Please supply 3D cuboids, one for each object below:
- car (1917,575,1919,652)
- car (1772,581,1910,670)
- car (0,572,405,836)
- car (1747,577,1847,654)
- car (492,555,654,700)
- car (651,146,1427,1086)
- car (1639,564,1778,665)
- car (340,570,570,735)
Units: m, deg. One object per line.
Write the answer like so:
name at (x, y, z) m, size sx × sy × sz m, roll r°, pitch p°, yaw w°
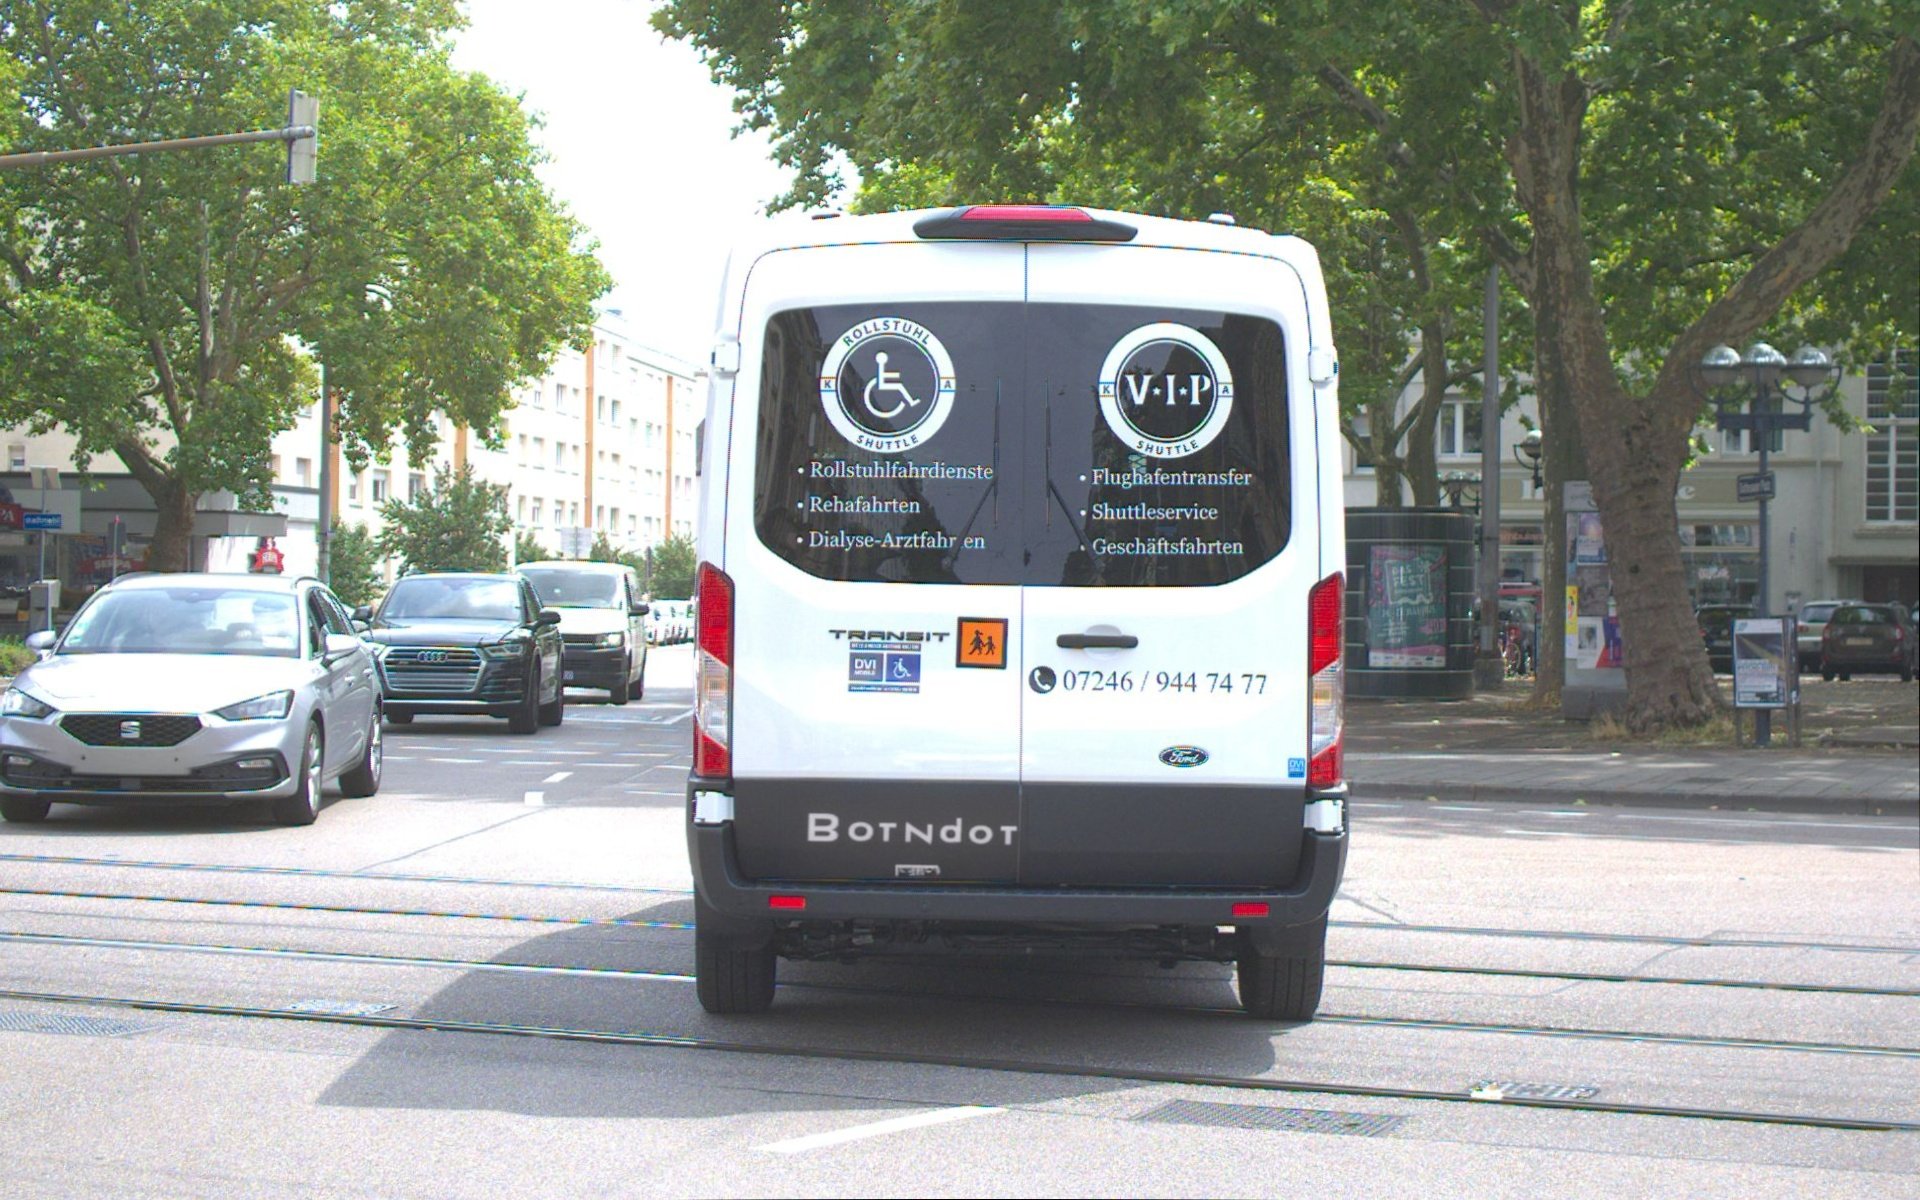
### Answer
car at (22.339, 0.298, 76.346) m, size 1.806 × 1.678 × 3.996 m, roll 1°, pitch 0°, yaw 19°
car at (17.265, 0.471, 67.524) m, size 1.805 × 1.678 × 4.000 m, roll 1°, pitch 0°, yaw 2°
car at (-4.595, 0.548, 20.781) m, size 1.832 × 1.422 × 4.121 m, roll 0°, pitch 0°, yaw 0°
car at (18.980, 0.323, 77.837) m, size 1.806 × 1.678 × 3.996 m, roll 1°, pitch 0°, yaw 19°
car at (-5.378, 0.346, 48.267) m, size 1.743 × 1.924 × 4.854 m, roll 0°, pitch 0°, yaw 0°
car at (0.080, -0.015, 12.057) m, size 2.181 × 2.639 × 4.629 m, roll -1°, pitch 1°, yaw -4°
car at (14.752, 0.256, 67.925) m, size 1.994 × 1.924 × 4.000 m, roll 1°, pitch 0°, yaw 2°
car at (-5.137, 0.488, 35.459) m, size 1.743 × 1.582 × 4.329 m, roll 0°, pitch 0°, yaw 0°
